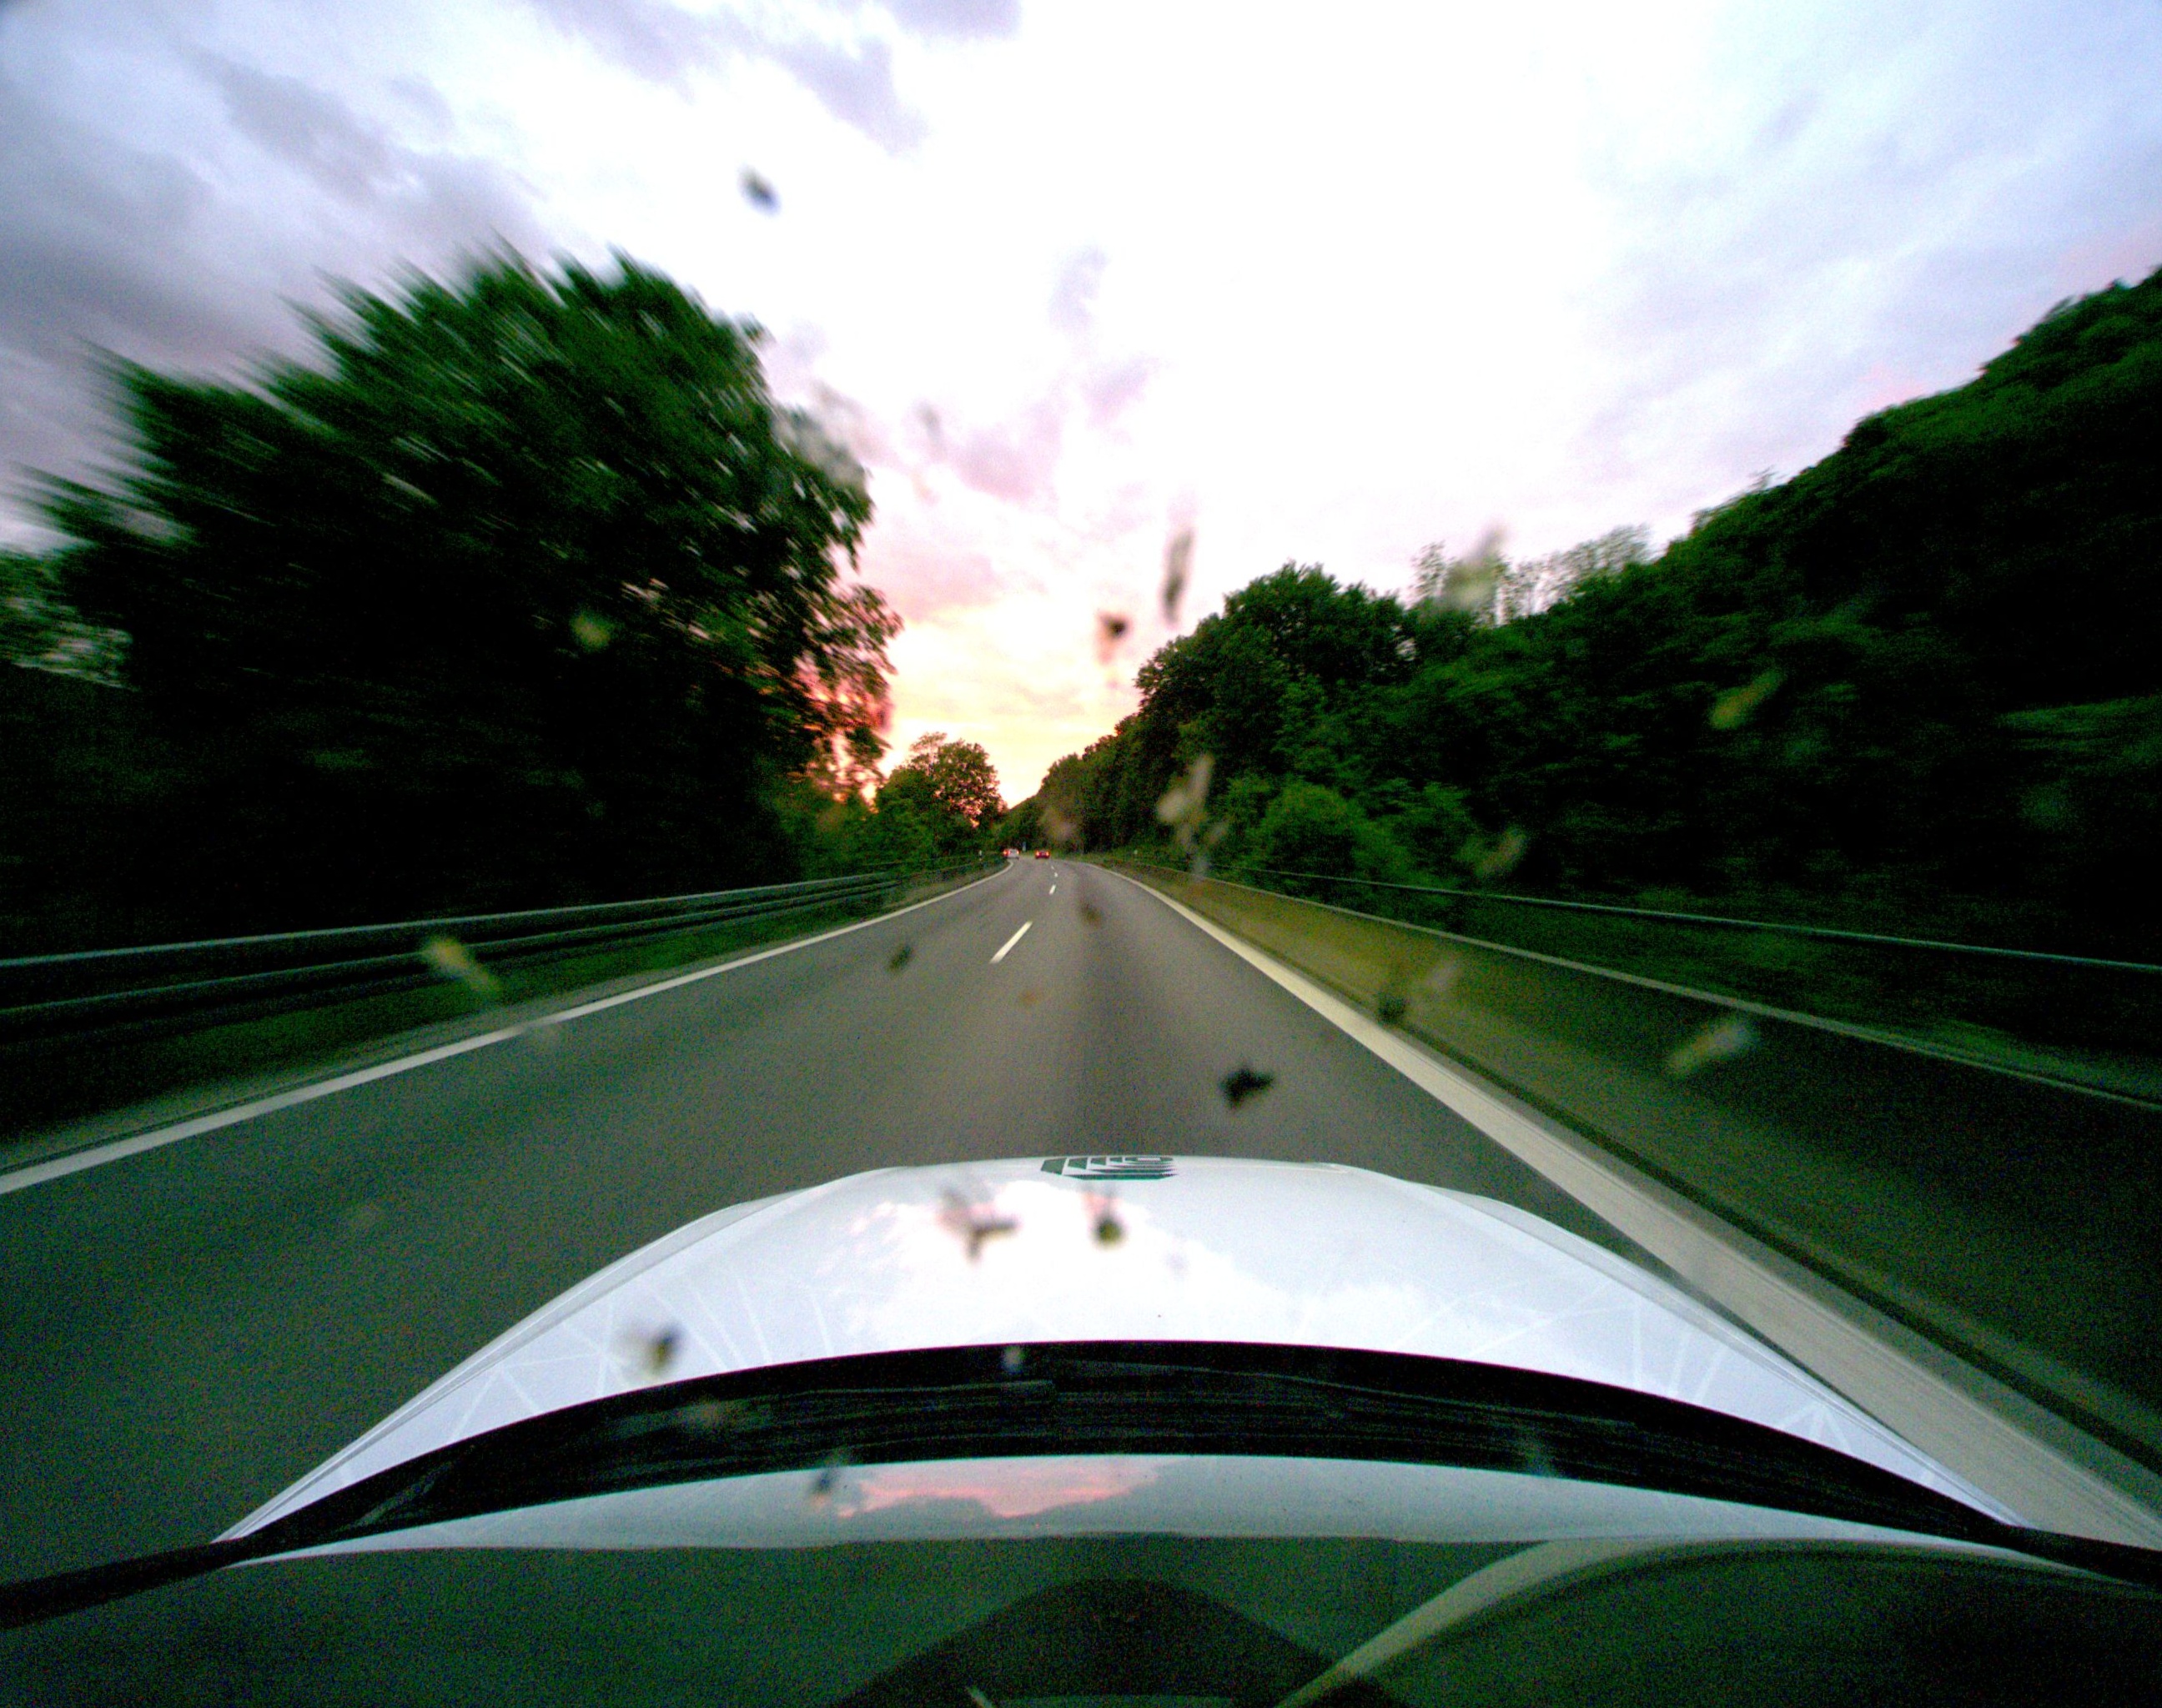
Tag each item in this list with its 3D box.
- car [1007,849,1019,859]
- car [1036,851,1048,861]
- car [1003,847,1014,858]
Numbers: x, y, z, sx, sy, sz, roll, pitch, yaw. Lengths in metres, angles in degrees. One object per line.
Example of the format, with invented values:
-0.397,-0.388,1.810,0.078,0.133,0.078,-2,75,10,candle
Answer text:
-10.882,-0.036,130.471,1.714,1.501,3.994,0,-2,-3,car
-6.025,0.278,126.123,1.874,1.466,3.995,-1,0,-3,car
-12.674,-0.216,142.397,1.714,1.635,3.995,-3,-2,-3,car
